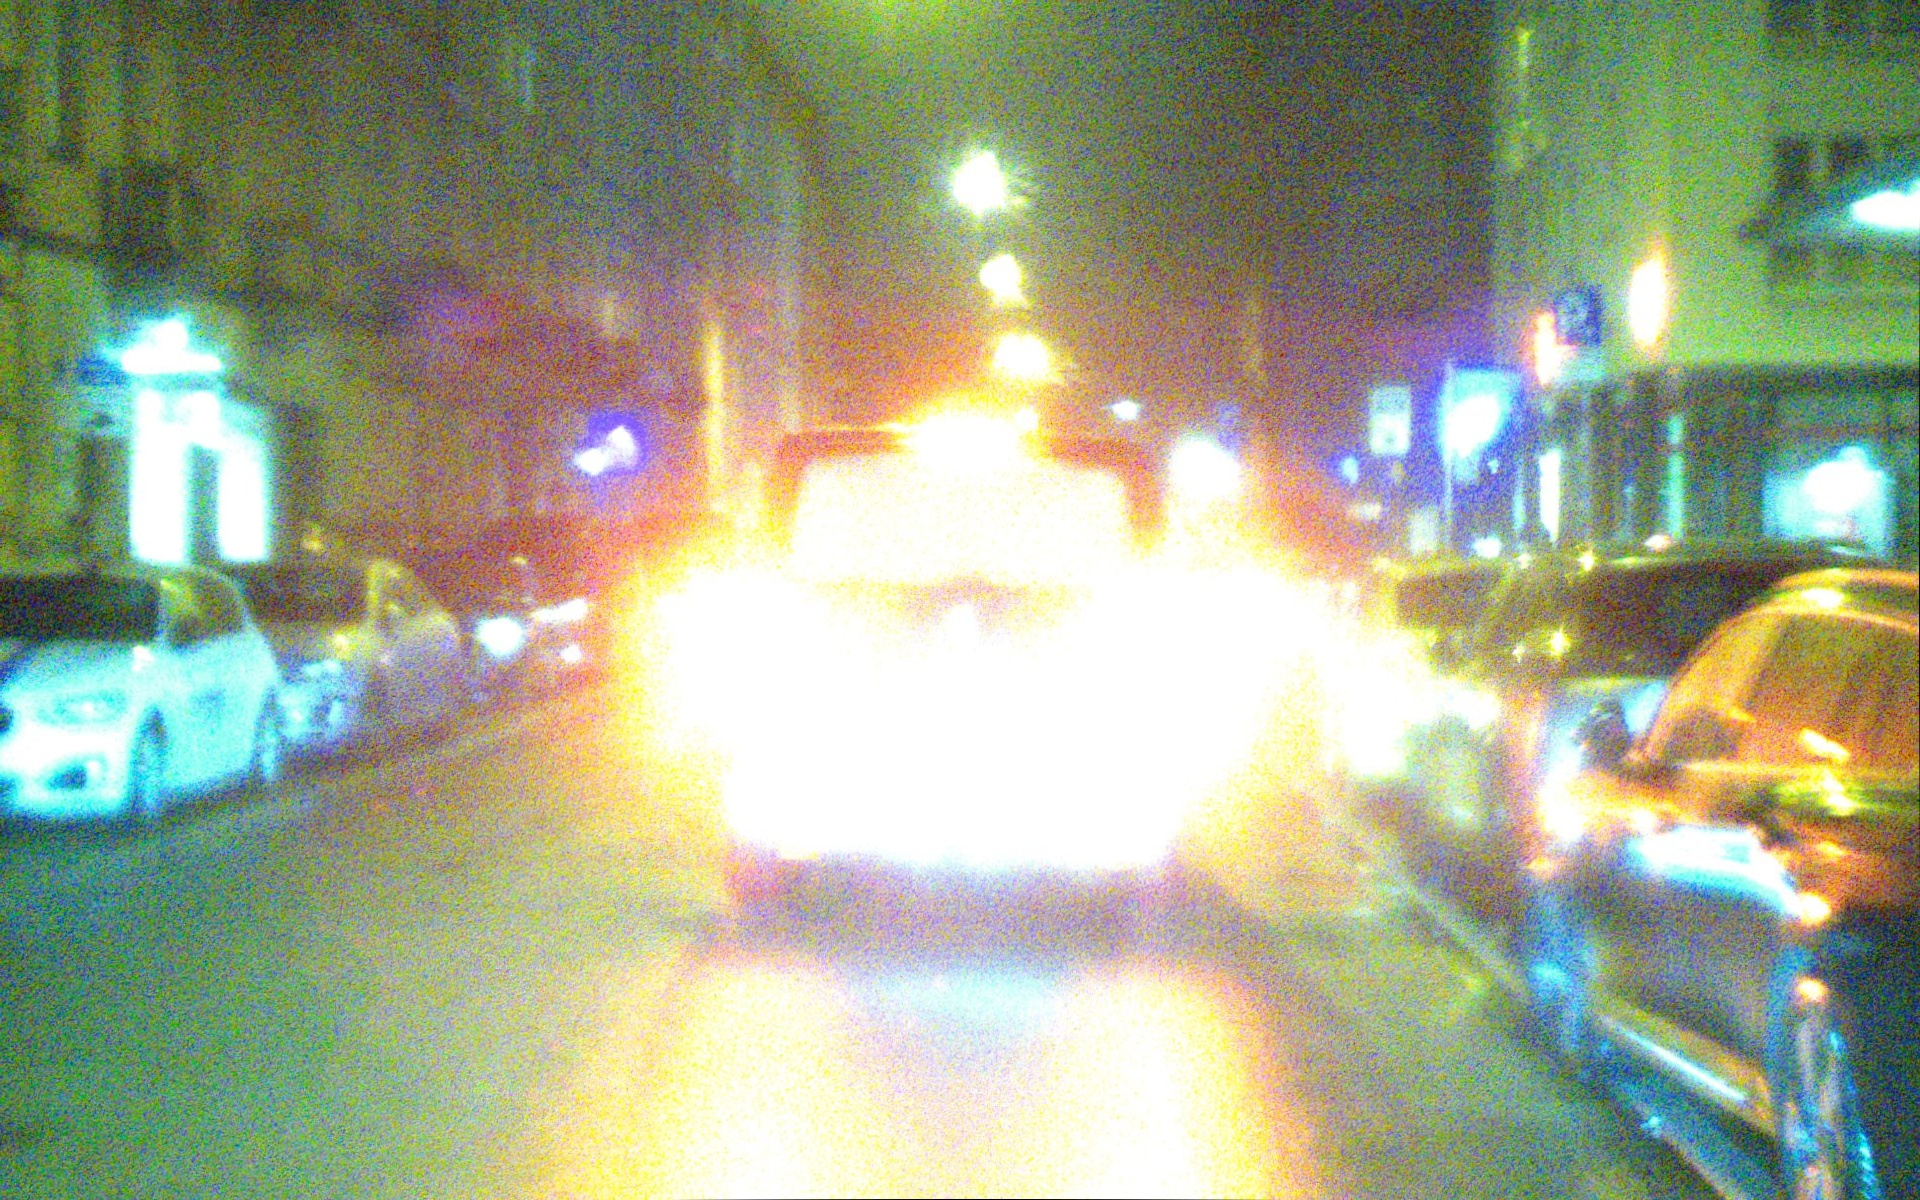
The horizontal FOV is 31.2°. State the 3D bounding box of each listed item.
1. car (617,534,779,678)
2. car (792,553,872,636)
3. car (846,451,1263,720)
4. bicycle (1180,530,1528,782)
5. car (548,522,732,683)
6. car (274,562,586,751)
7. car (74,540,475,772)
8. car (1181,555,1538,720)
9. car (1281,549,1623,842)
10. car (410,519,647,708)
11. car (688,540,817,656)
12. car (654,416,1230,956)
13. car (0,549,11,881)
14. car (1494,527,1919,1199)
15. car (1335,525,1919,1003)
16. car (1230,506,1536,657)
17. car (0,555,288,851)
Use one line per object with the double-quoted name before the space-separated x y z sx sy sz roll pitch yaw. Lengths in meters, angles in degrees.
"car" -3.919 0.073 51.952 1.993 2.007 4.000 2 0 1
"car" -3.230 -0.146 87.555 1.749 2.007 4.000 2 0 1
"car" 0.875 -0.147 27.473 2.124 1.916 4.822 2 1 17
"bicycle" 2.774 0.395 24.446 2.320 1.633 0.888 -3 0 3
"car" -4.252 0.018 46.216 1.993 2.007 4.000 2 0 0
"car" -4.477 0.443 29.613 1.993 1.444 4.000 2 0 0
"car" -4.822 0.326 24.847 1.754 1.444 4.623 3 1 2
"car" 4.986 0.468 43.171 3.986 2.007 2.000 0 -1 -15
"car" 2.812 0.517 20.249 1.592 1.538 3.420 1 0 2
"car" -4.588 0.124 37.115 1.993 1.856 4.094 2 0 0
"car" -3.785 -0.052 63.362 1.993 2.007 4.000 2 0 1
"car" -0.059 0.288 15.132 2.122 1.984 4.601 1 1 0
"car" -5.017 0.514 13.341 1.586 1.444 3.503 1 1 2
"car" 2.466 0.669 7.966 1.753 1.532 4.398 2 0 0
"car" 2.613 0.567 13.804 1.753 1.602 3.989 2 0 0
"car" 5.733 -0.261 46.986 3.987 2.007 2.000 0 1 2
"car" -5.054 0.476 19.003 1.690 1.396 4.317 1 1 2
